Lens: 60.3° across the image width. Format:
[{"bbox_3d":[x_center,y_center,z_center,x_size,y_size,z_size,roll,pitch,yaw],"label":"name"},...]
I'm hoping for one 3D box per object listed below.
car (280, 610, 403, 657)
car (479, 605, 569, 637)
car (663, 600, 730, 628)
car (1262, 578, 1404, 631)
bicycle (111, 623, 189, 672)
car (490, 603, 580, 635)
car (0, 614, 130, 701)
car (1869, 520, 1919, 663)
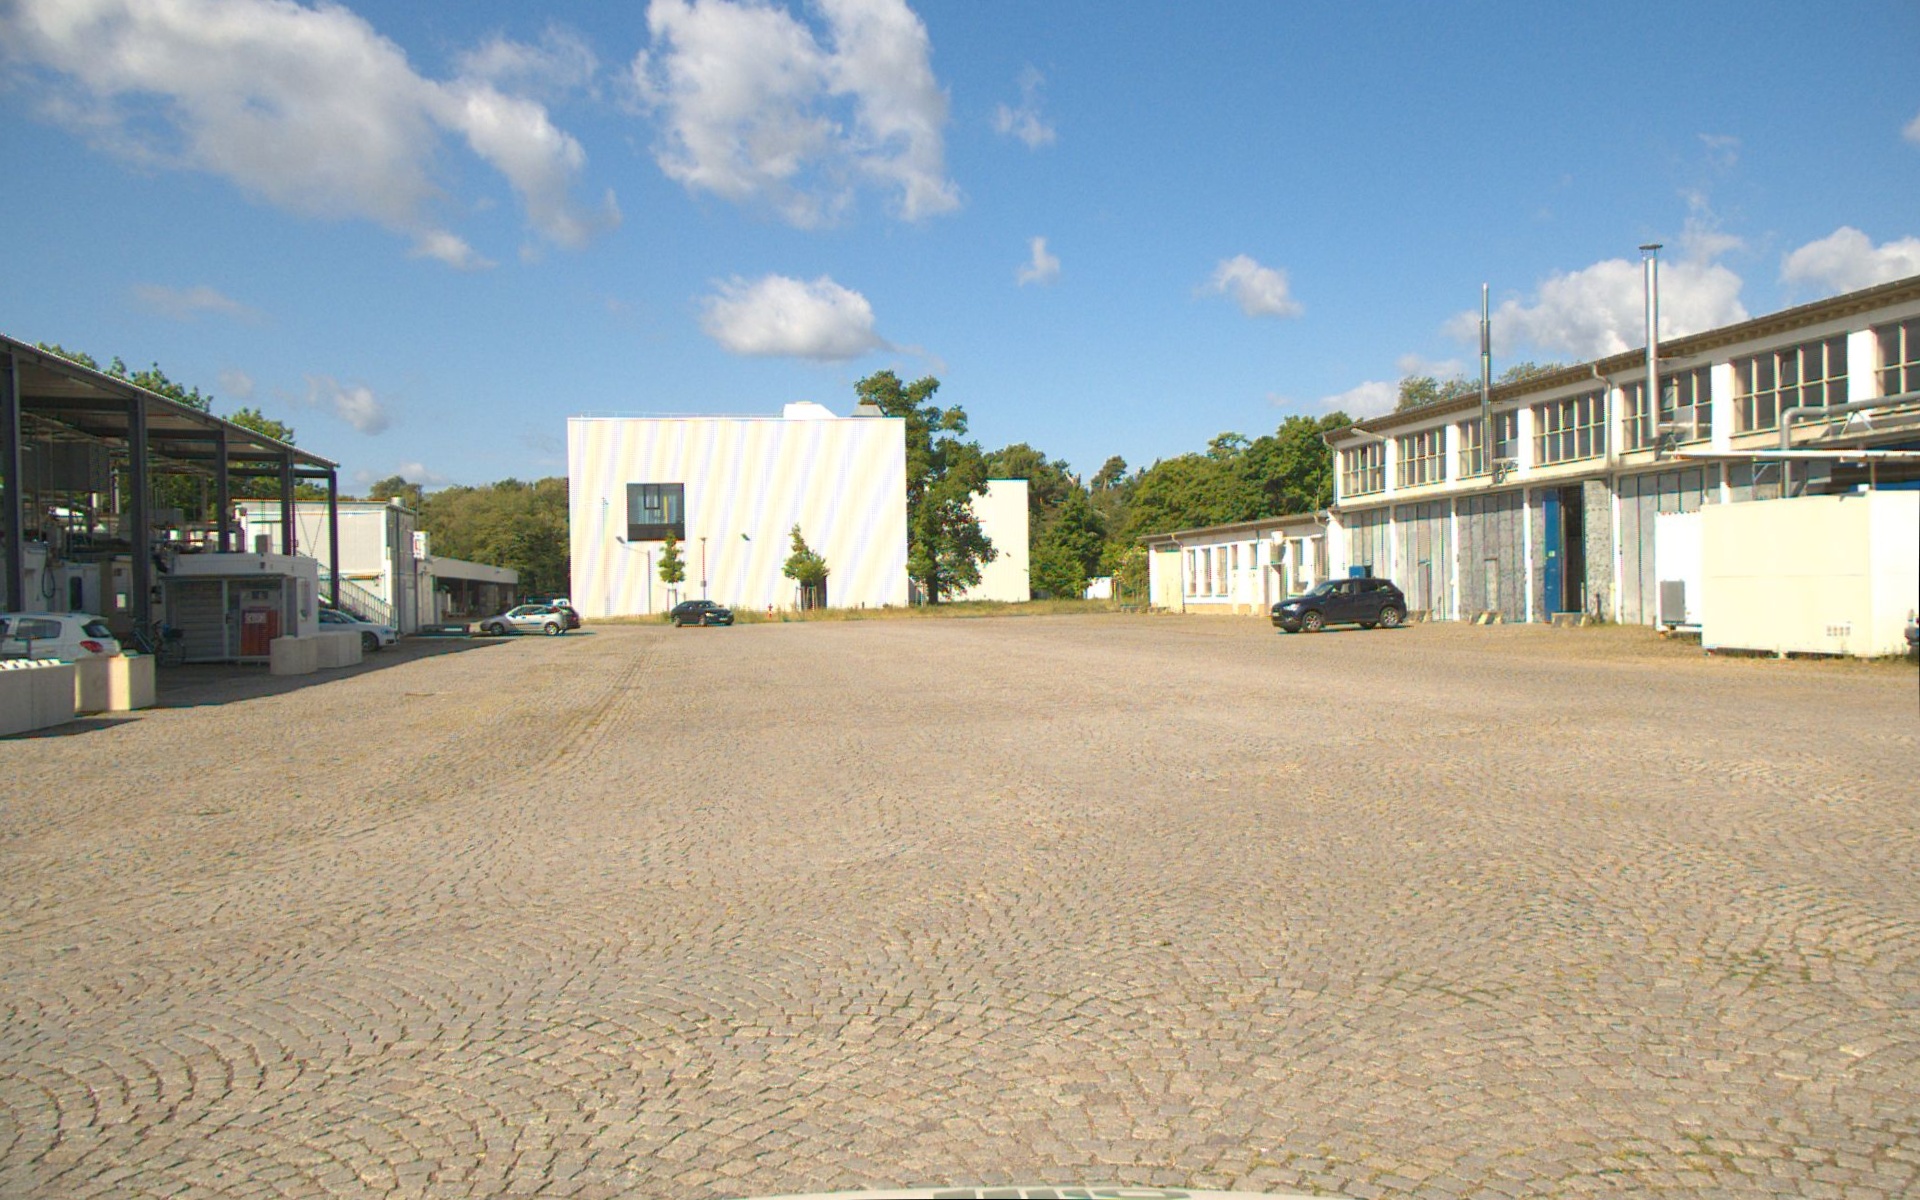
[{"bbox_3d":[-20.684,1.096,55.431,3.622,1.433,1.670,-1,0,-13],"label":"car"},{"bbox_3d":[-21.127,1.021,80.302,4.100,1.428,1.736,-2,0,-12],"label":"car"},{"bbox_3d":[-14.259,0.765,89.403,1.725,1.454,4.014,-1,0,-41],"label":"car"},{"bbox_3d":[11.717,0.134,52.043,3.991,1.495,1.736,-2,0,-12],"label":"car"},{"bbox_3d":[-20.174,1.176,41.214,1.636,1.156,0.484,-1,0,-12],"label":"bicycle"},{"bbox_3d":[-21.444,0.940,83.529,4.267,1.495,1.736,-2,0,-12],"label":"car"},{"bbox_3d":[-16.271,0.989,28.260,3.403,1.400,1.605,-1,0,-13],"label":"car"},{"bbox_3d":[16.570,-0.220,24.944,4.698,2.118,2.007,-2,0,-7],"label":"car"}]
